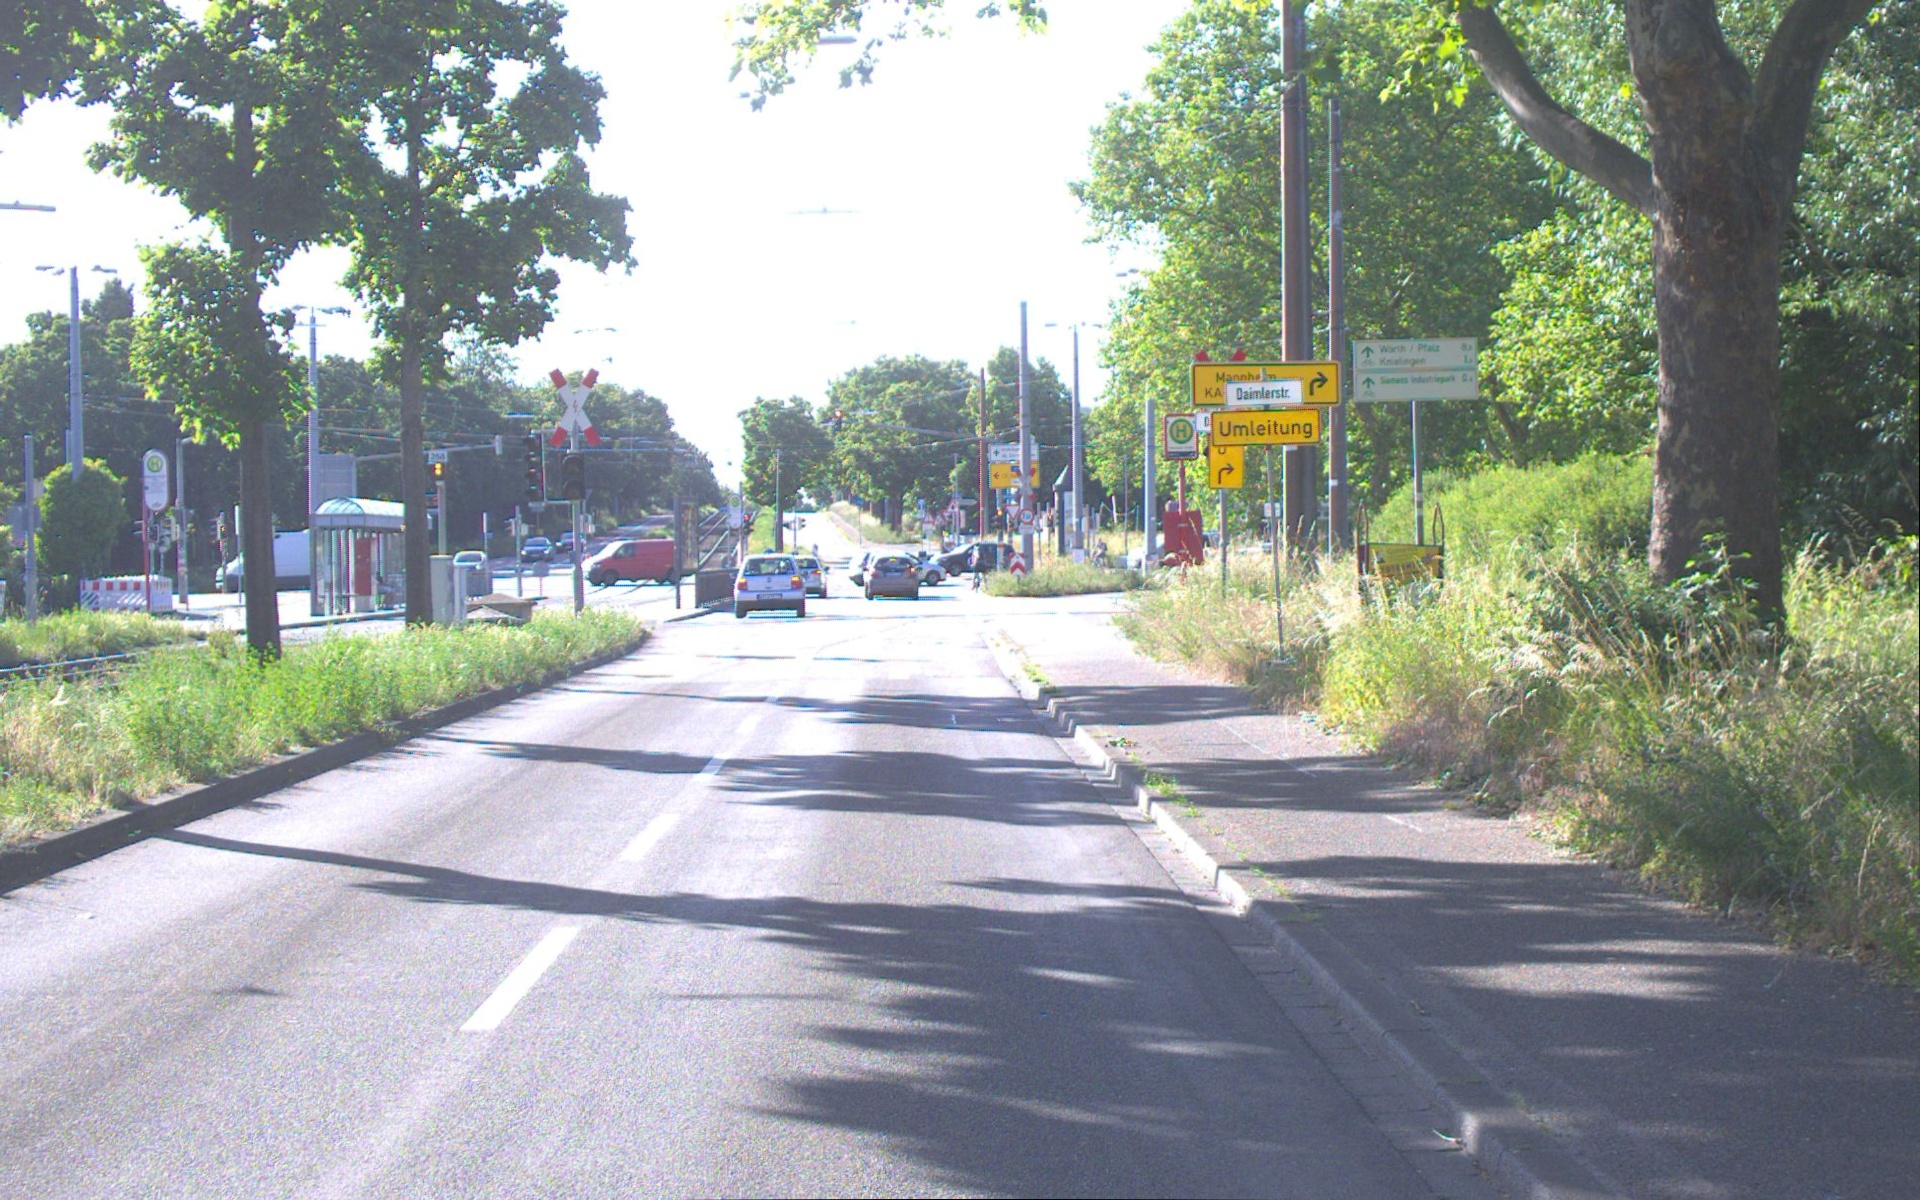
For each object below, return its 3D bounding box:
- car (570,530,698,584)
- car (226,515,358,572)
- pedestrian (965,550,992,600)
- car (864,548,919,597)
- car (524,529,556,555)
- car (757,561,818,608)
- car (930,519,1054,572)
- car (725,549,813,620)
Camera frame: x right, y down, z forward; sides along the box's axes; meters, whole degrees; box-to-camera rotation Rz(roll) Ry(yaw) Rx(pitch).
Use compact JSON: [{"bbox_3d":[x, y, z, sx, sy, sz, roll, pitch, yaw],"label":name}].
[{"bbox_3d":[-14.256,-1.879,150.286,5.147,2.267,2.001,1,0,-25],"label":"car"},{"bbox_3d":[-28.805,-2.423,148.229,5.242,2.346,1.866,1,0,-25],"label":"car"},{"bbox_3d":[0.693,-0.935,127.870,0.926,1.829,0.638,1,0,4],"label":"pedestrian"},{"bbox_3d":[-2.284,-0.922,114.428,1.791,1.554,4.228,1,1,-1],"label":"car"},{"bbox_3d":[-25.761,-3.554,210.937,1.791,1.554,4.229,1,1,-6],"label":"car"},{"bbox_3d":[-5.973,-0.553,119.566,1.993,1.598,4.474,1,1,-1],"label":"car"},{"bbox_3d":[1.428,-2.419,152.846,5.147,2.267,2.001,1,0,-25],"label":"car"},{"bbox_3d":[-4.395,-0.370,79.517,1.860,1.595,4.228,1,1,-1],"label":"car"}]
